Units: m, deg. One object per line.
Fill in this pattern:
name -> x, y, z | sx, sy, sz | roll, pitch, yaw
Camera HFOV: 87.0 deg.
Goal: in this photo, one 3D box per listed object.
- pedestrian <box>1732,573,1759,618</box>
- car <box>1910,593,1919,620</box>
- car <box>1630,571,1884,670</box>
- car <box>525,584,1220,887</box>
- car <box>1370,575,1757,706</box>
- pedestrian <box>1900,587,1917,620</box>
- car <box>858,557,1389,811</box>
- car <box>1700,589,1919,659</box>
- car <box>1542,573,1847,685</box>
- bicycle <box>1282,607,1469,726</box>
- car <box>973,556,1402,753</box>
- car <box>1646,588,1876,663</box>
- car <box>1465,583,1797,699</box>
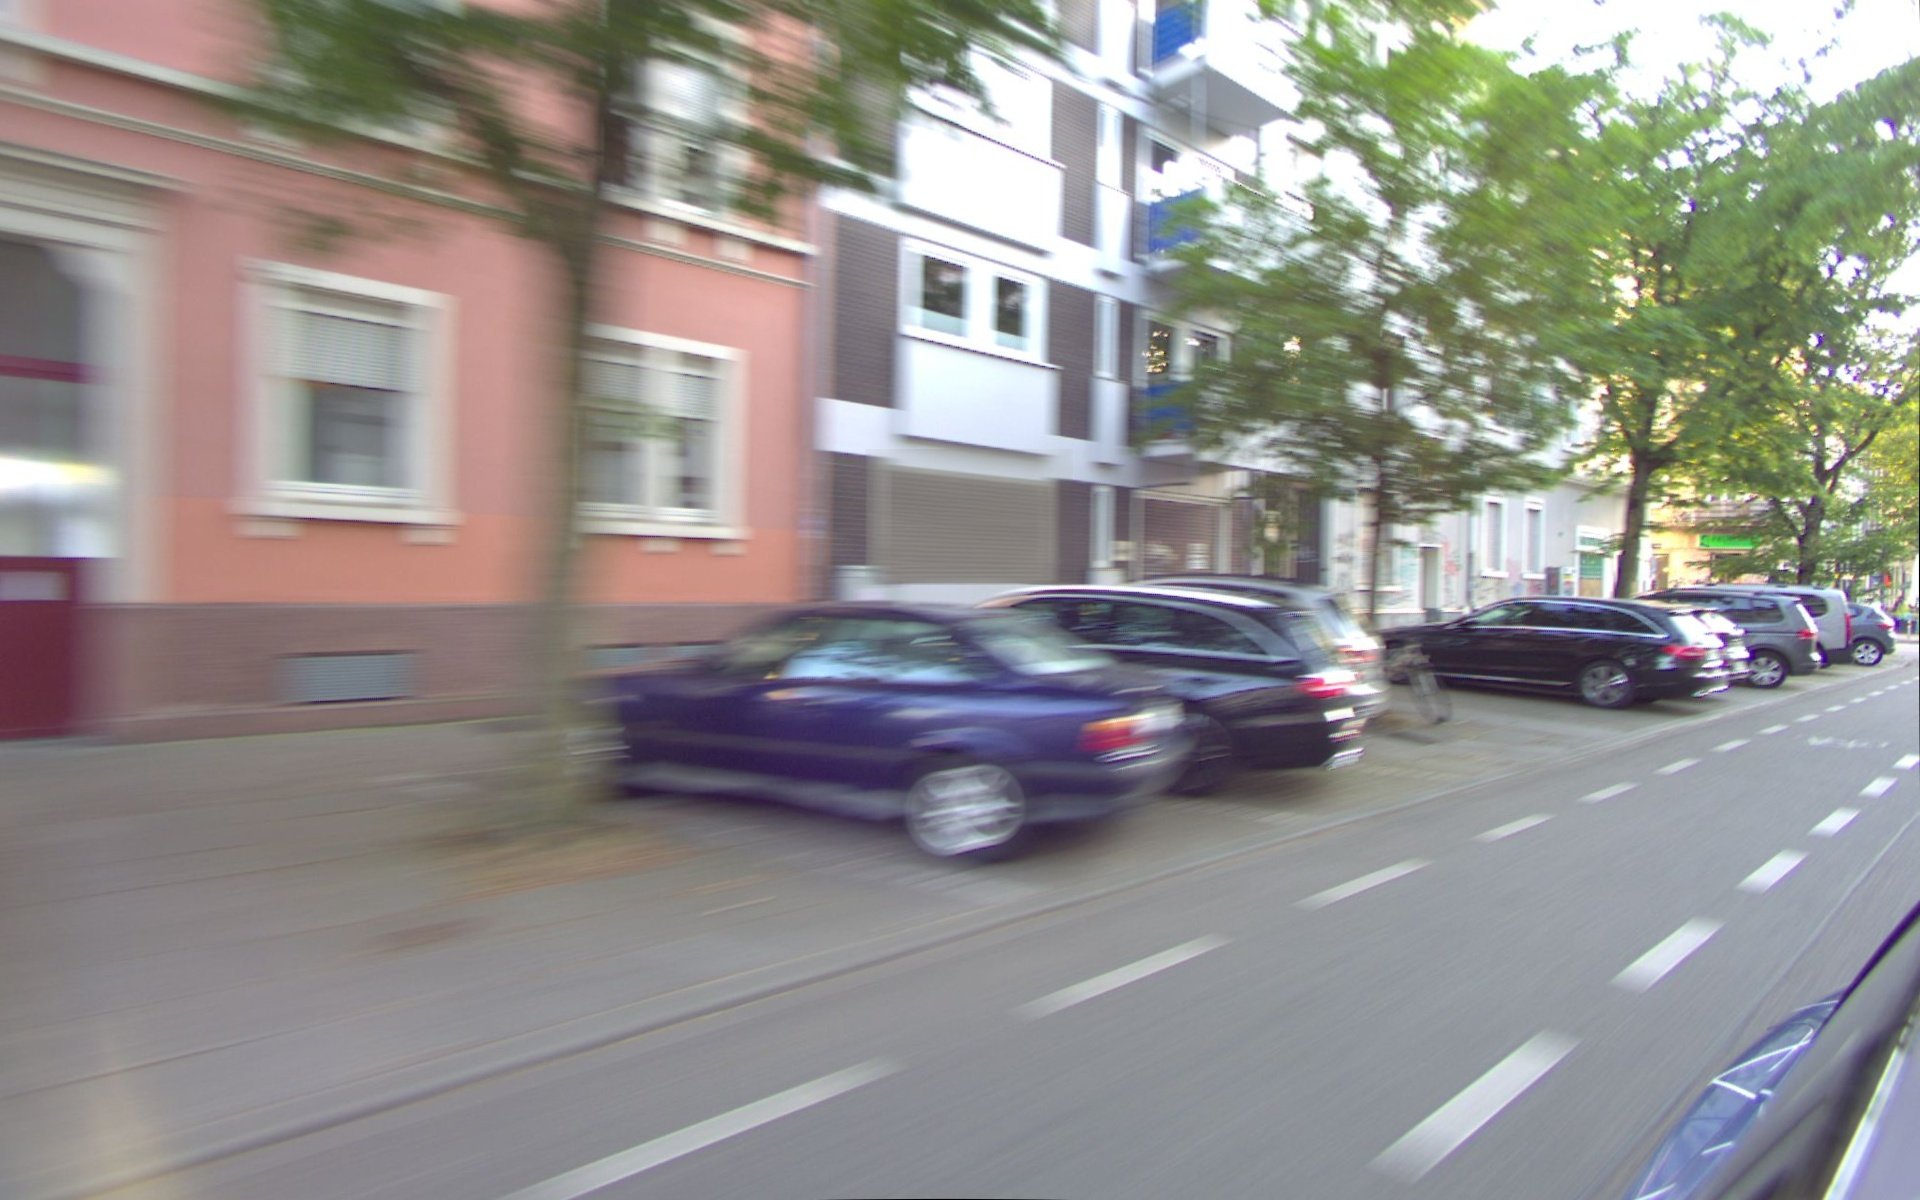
pedestrian -> 33.495, -0.201, 43.136 | 0.600, 1.855, 0.560 | 3, 0, -3
car -> 57.545, 0.494, 57.657 | 4.586, 1.536, 1.796 | 3, 1, 24
car -> 16.952, 0.374, 21.819 | 3.965, 1.838, 1.806 | 3, 1, 29
car -> -0.613, 0.630, 6.485 | 4.218, 1.405, 1.607 | 1, 1, 25
car -> 8.342, 0.455, 14.356 | 1.689, 1.482, 4.387 | 1, 2, -40
pedestrian -> 52.473, 0.180, 55.997 | 0.633, 1.774, 0.499 | 1, 2, -36
car -> 1.252, 0.506, 8.326 | 3.945, 1.573, 1.700 | 3, 1, 33
car -> 21.122, 0.547, 25.352 | 3.967, 1.560, 1.760 | 1, 1, 31
car -> 12.984, 0.442, 18.265 | 4.154, 1.717, 1.829 | 3, 1, 28
bicycle -> 4.654, 0.696, 11.408 | 1.794, 1.158, 0.721 | 3, 2, 42
car -> 2.290, 0.435, 10.403 | 3.965, 1.613, 1.702 | 3, 1, 29
car -> 18.695, 0.547, 23.868 | 3.964, 1.586, 1.702 | 1, 1, 29
car -> 10.318, 0.544, 15.918 | 1.685, 1.482, 4.007 | 1, 1, -28
